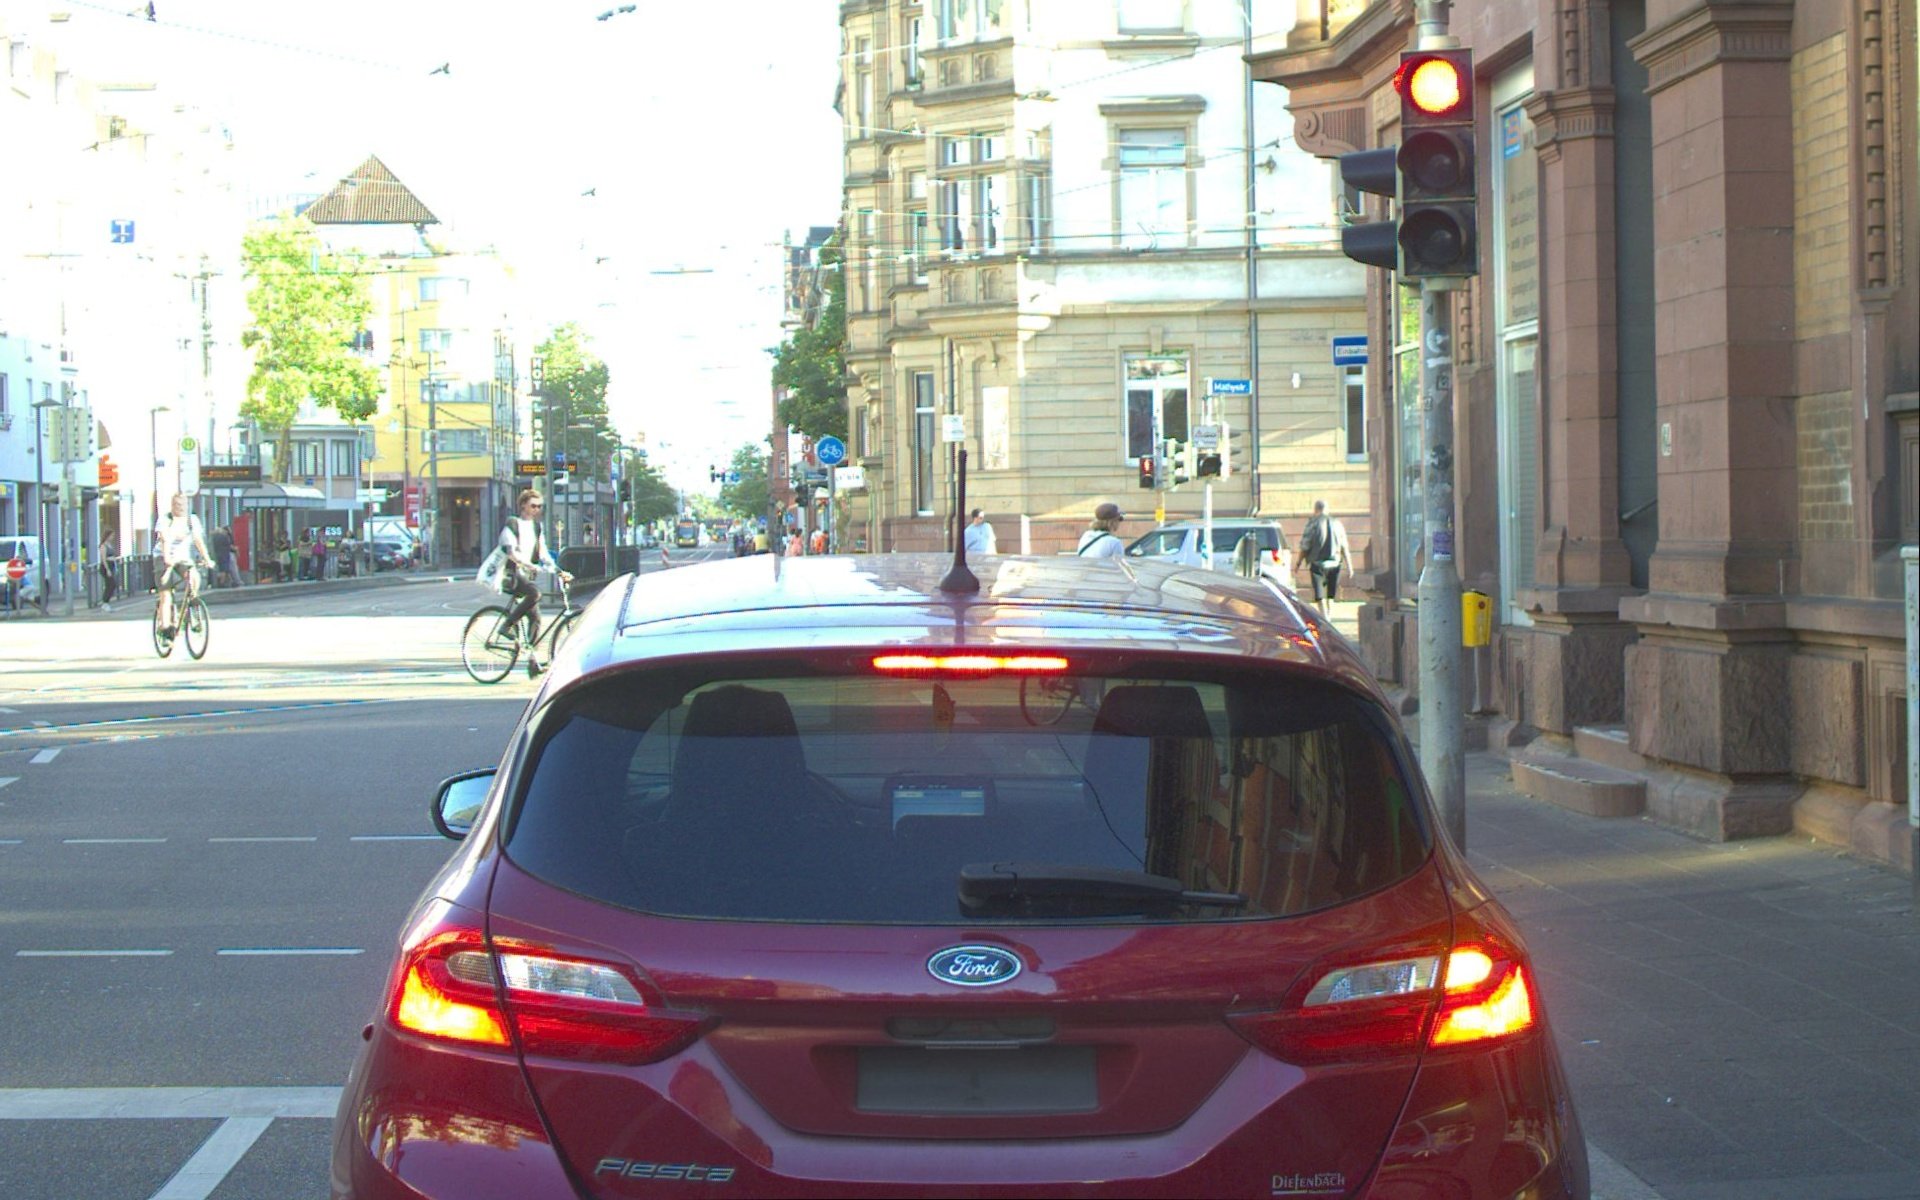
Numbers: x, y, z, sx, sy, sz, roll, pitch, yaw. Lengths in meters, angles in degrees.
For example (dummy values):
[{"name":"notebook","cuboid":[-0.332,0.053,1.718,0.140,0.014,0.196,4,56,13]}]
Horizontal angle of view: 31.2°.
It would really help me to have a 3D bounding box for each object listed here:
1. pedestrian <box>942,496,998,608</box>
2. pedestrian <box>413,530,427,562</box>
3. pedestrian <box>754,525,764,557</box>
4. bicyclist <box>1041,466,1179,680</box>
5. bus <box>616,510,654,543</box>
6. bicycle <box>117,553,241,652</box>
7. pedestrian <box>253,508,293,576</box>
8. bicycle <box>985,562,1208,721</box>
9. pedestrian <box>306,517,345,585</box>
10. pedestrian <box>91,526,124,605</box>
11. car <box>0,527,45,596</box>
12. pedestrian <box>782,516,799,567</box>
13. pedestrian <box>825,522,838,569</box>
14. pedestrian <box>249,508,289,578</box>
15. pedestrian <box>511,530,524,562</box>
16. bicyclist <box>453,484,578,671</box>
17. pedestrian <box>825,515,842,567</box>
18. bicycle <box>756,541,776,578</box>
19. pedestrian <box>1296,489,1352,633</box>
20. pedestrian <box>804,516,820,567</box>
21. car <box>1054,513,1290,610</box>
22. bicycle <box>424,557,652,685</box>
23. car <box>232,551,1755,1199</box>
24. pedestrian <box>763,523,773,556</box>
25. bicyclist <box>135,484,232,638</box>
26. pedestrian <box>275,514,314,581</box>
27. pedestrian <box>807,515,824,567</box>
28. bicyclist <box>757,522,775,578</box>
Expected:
[{"name":"pedestrian","cuboid":[0.180,-0.877,62.136,0.651,2.007,0.759,-1,1,-39]},{"name":"pedestrian","cuboid":[-25.600,-2.551,162.882,0.580,1.483,0.526,-1,1,-5]},{"name":"pedestrian","cuboid":[-11.926,-3.524,203.834,0.577,1.880,0.669,-1,1,-3]},{"name":"bicyclist","cuboid":[1.161,-0.210,26.582,0.765,1.621,0.730,1,1,39]},{"name":"bus","cuboid":[-20.459,-4.617,216.897,1.925,2.007,7.138,-1,1,-2]},{"name":"bicycle","cuboid":[-9.424,0.019,41.444,0.808,1.143,2.010,-2,1,-32]},{"name":"pedestrian","cuboid":[-20.585,-1.731,102.991,1.045,2.007,0.959,-1,1,-5]},{"name":"bicycle","cuboid":[1.067,0.298,26.454,0.628,1.173,2.020,1,1,39]},{"name":"pedestrian","cuboid":[-19.016,-1.466,103.091,1.045,2.007,0.959,-1,1,-5]},{"name":"pedestrian","cuboid":[-18.279,-0.743,73.697,0.524,1.676,0.486,-1,1,4]},{"name":"car","cuboid":[-24.487,-0.994,87.390,1.701,1.712,3.565,-1,1,-4]},{"name":"pedestrian","cuboid":[-6.765,-2.335,137.463,0.577,2.007,0.631,-1,1,3]},{"name":"pedestrian","cuboid":[-4.613,-1.946,123.153,0.413,1.674,0.485,-1,1,-1]},{"name":"pedestrian","cuboid":[-20.207,-1.673,100.583,0.956,2.007,1.049,-1,1,-3]},{"name":"pedestrian","cuboid":[-20.683,-2.511,160.720,0.524,1.483,0.583,-1,1,-1]},{"name":"bicyclist","cuboid":[-4.152,-0.213,32.146,0.793,1.720,0.809,0,1,32]},{"name":"pedestrian","cuboid":[-4.964,-2.304,134.498,0.577,2.007,0.631,-1,1,3]},{"name":"bicycle","cuboid":[-5.797,-1.205,102.695,0.526,1.085,1.486,-1,1,-1]},{"name":"pedestrian","cuboid":[4.469,-0.483,42.241,0.560,1.749,0.650,-2,1,-1]},{"name":"pedestrian","cuboid":[-5.926,-2.343,137.563,0.577,2.007,0.631,-1,1,3]},{"name":"car","cuboid":[3.604,-0.658,58.185,3.897,1.543,1.454,-1,1,6]},{"name":"bicycle","cuboid":[-3.938,0.188,32.029,2.046,1.143,0.809,0,1,32]},{"name":"car","cuboid":[-0.124,0.665,5.926,1.754,1.461,3.946,0,1,-5]},{"name":"pedestrian","cuboid":[-11.208,-3.527,200.546,0.577,1.880,0.631,-1,1,-3]},{"name":"bicyclist","cuboid":[-9.337,-0.473,41.321,0.808,1.815,0.993,-2,1,-32]},{"name":"pedestrian","cuboid":[-20.280,-1.607,104.765,1.045,2.007,0.959,-1,1,-5]},{"name":"pedestrian","cuboid":[-5.573,-2.269,132.937,0.577,2.007,0.631,-1,1,3]},{"name":"bicyclist","cuboid":[-5.793,-1.490,102.549,0.499,1.670,0.545,-1,1,-2]}]
